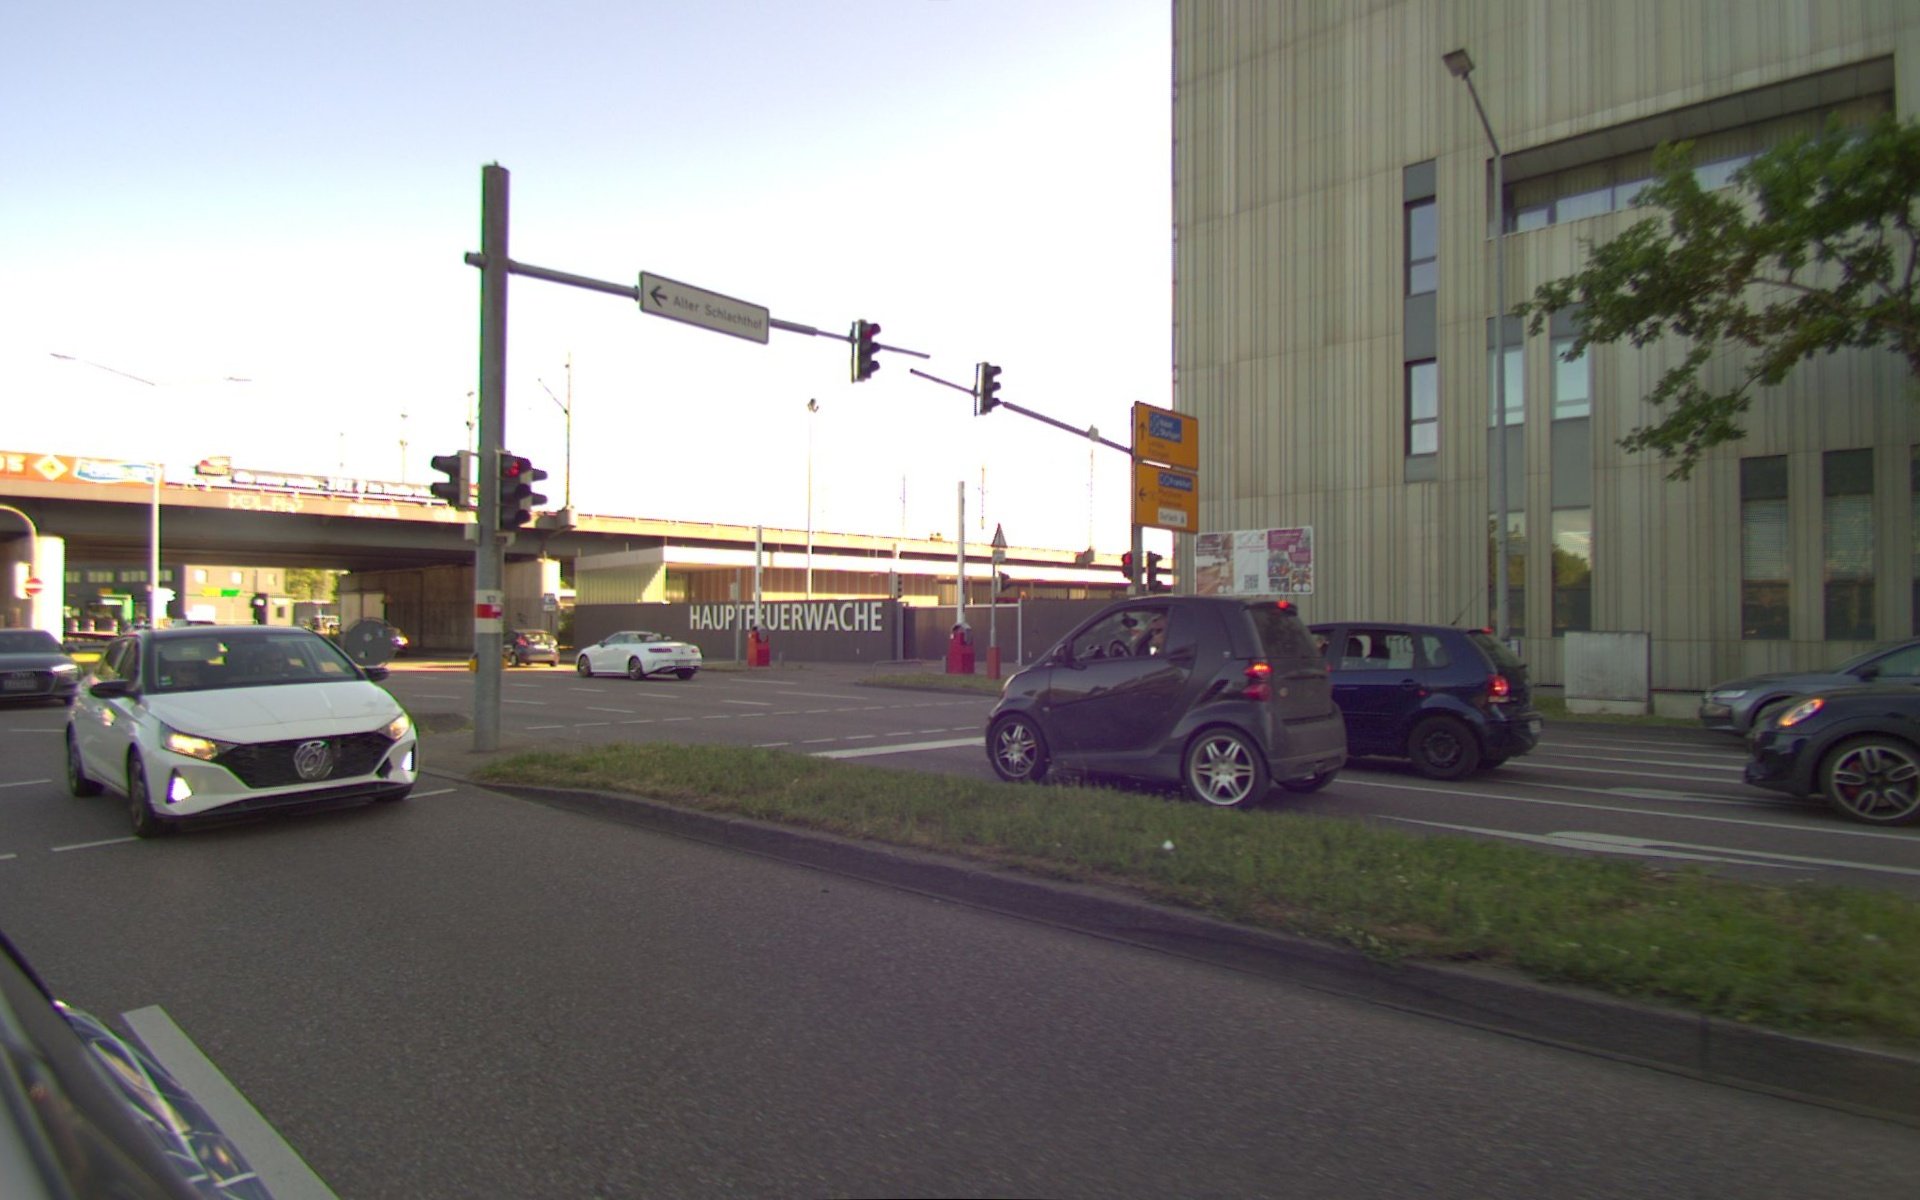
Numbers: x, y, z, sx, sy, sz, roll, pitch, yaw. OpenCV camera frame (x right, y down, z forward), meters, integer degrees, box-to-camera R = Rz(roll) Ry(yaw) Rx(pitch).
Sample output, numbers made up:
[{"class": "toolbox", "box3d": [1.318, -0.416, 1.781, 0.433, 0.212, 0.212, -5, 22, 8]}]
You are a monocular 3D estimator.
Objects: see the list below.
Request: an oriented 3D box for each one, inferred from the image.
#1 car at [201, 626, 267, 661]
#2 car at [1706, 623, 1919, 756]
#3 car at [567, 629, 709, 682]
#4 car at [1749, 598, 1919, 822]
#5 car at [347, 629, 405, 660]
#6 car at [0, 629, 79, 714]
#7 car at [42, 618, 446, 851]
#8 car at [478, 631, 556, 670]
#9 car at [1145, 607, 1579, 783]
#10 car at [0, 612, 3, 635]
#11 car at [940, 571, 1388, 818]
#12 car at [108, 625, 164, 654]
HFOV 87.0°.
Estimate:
[{"class": "car", "box3d": [-33.615, 2.016, 46.808, 3.999, 1.552, 1.610, -1, -4, 42]}, {"class": "car", "box3d": [11.083, 1.003, 11.842, 3.727, 1.474, 1.592, -2, -2, 39]}, {"class": "car", "box3d": [-9.590, 1.598, 29.940, 4.878, 1.452, 1.685, -1, -3, 41]}, {"class": "car", "box3d": [7.593, 0.742, 6.696, 3.638, 1.481, 1.603, -2, -4, 41]}, {"class": "car", "box3d": [-29.807, 2.260, 51.656, 3.425, 1.544, 1.550, -2, -2, 41]}, {"class": "car", "box3d": [-17.635, 1.243, 18.514, 4.362, 1.415, 1.680, -1, -2, 41]}, {"class": "car", "box3d": [-5.992, 0.891, 8.289, 4.072, 1.419, 1.760, -2, -1, 40]}, {"class": "car", "box3d": [-17.408, 1.948, 39.697, 1.473, 1.422, 3.941, 2, -2, -44]}, {"class": "car", "box3d": [3.947, 0.859, 10.247, 3.750, 1.452, 1.685, -2, -3, 40]}, {"class": "car", "box3d": [-71.306, 1.722, 73.672, 3.993, 1.709, 1.793, -1, 0, 37]}, {"class": "car", "box3d": [1.553, 0.663, 8.208, 3.212, 1.592, 1.584, -1, -3, 42]}, {"class": "car", "box3d": [-46.137, 2.207, 56.664, 3.998, 1.552, 1.705, -1, -4, 41]}]
